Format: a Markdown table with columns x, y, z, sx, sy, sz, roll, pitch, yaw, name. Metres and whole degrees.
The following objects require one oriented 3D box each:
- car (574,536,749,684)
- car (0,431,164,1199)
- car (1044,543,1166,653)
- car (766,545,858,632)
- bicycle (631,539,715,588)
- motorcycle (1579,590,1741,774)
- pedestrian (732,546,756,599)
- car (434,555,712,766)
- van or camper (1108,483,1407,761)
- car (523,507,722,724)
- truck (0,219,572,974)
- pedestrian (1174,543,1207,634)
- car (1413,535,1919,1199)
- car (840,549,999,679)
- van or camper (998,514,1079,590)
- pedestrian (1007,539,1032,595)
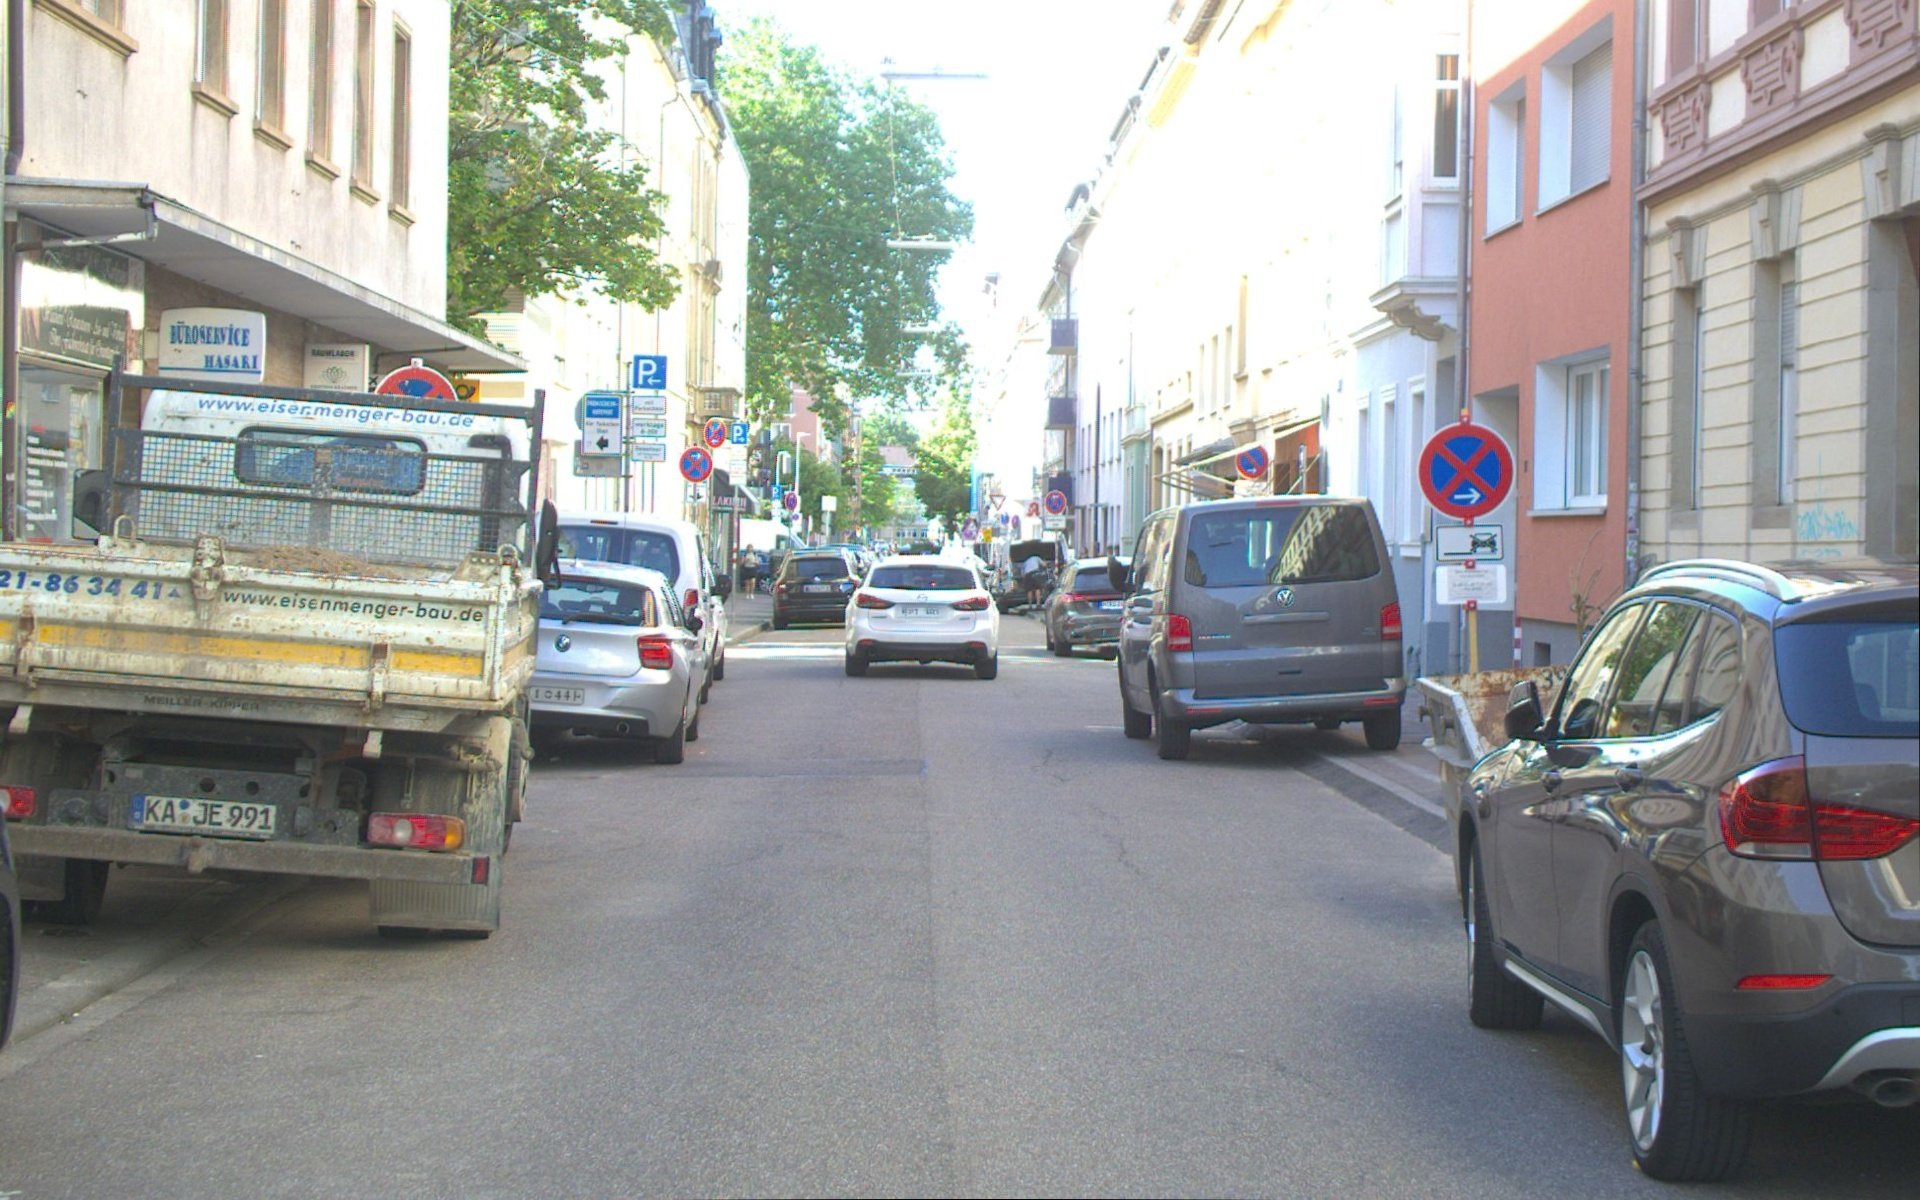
| x | y | z | sx | sy | sz | roll | pitch | yaw | name |
| --- | --- | --- | --- | --- | --- | --- | --- | --- | --- |
| -3.316 | 0.073 | 38.758 | 1.647 | 1.571 | 3.679 | 1 | 1 | 0 | car |
| -3.297 | 0.476 | 6.394 | 2.441 | 1.700 | 5.243 | 1 | 1 | -1 | car |
| 2.170 | -0.055 | 52.111 | 1.647 | 1.571 | 3.679 | 1 | 1 | 0 | car |
| -2.856 | -0.248 | 67.072 | 1.624 | 1.591 | 3.580 | 2 | 1 | 0 | car |
| -6.752 | -0.851 | 80.968 | 1.949 | 1.111 | 0.512 | 1 | 1 | -35 | bicycle |
| 5.038 | 0.557 | 24.902 | 0.596 | 1.182 | 2.760 | -4 | 1 | 1 | motorcycle |
| -5.989 | -0.769 | 95.339 | 0.627 | 1.459 | 0.575 | 0 | 0 | 0 | pedestrian |
| -2.853 | 0.395 | 26.074 | 1.758 | 1.411 | 4.001 | -1 | 1 | -2 | car |
| 2.294 | 0.131 | 27.628 | 1.775 | 2.029 | 4.571 | -1 | 1 | -3 | van or camper |
| -3.063 | 0.098 | 31.825 | 1.647 | 1.861 | 4.001 | 1 | 1 | -3 | car |
| -2.845 | -0.009 | 14.926 | 2.156 | 2.581 | 6.250 | 0 | 0 | -5 | truck |
| 4.403 | -0.213 | 65.648 | 0.528 | 1.721 | 0.489 | 0 | 0 | 15 | pedestrian |
| 2.498 | 0.636 | 9.818 | 1.739 | 1.571 | 4.378 | 1 | 2 | -1 | car |
| -0.455 | 0.137 | 42.037 | 1.834 | 1.481 | 4.057 | 1 | 1 | 0 | car |
| 2.024 | -1.228 | 89.847 | 1.993 | 1.919 | 4.000 | 0 | 0 | 0 | van or camper |
| 1.583 | -0.878 | 91.411 | 0.627 | 1.459 | 0.575 | 0 | 0 | 0 | pedestrian |
